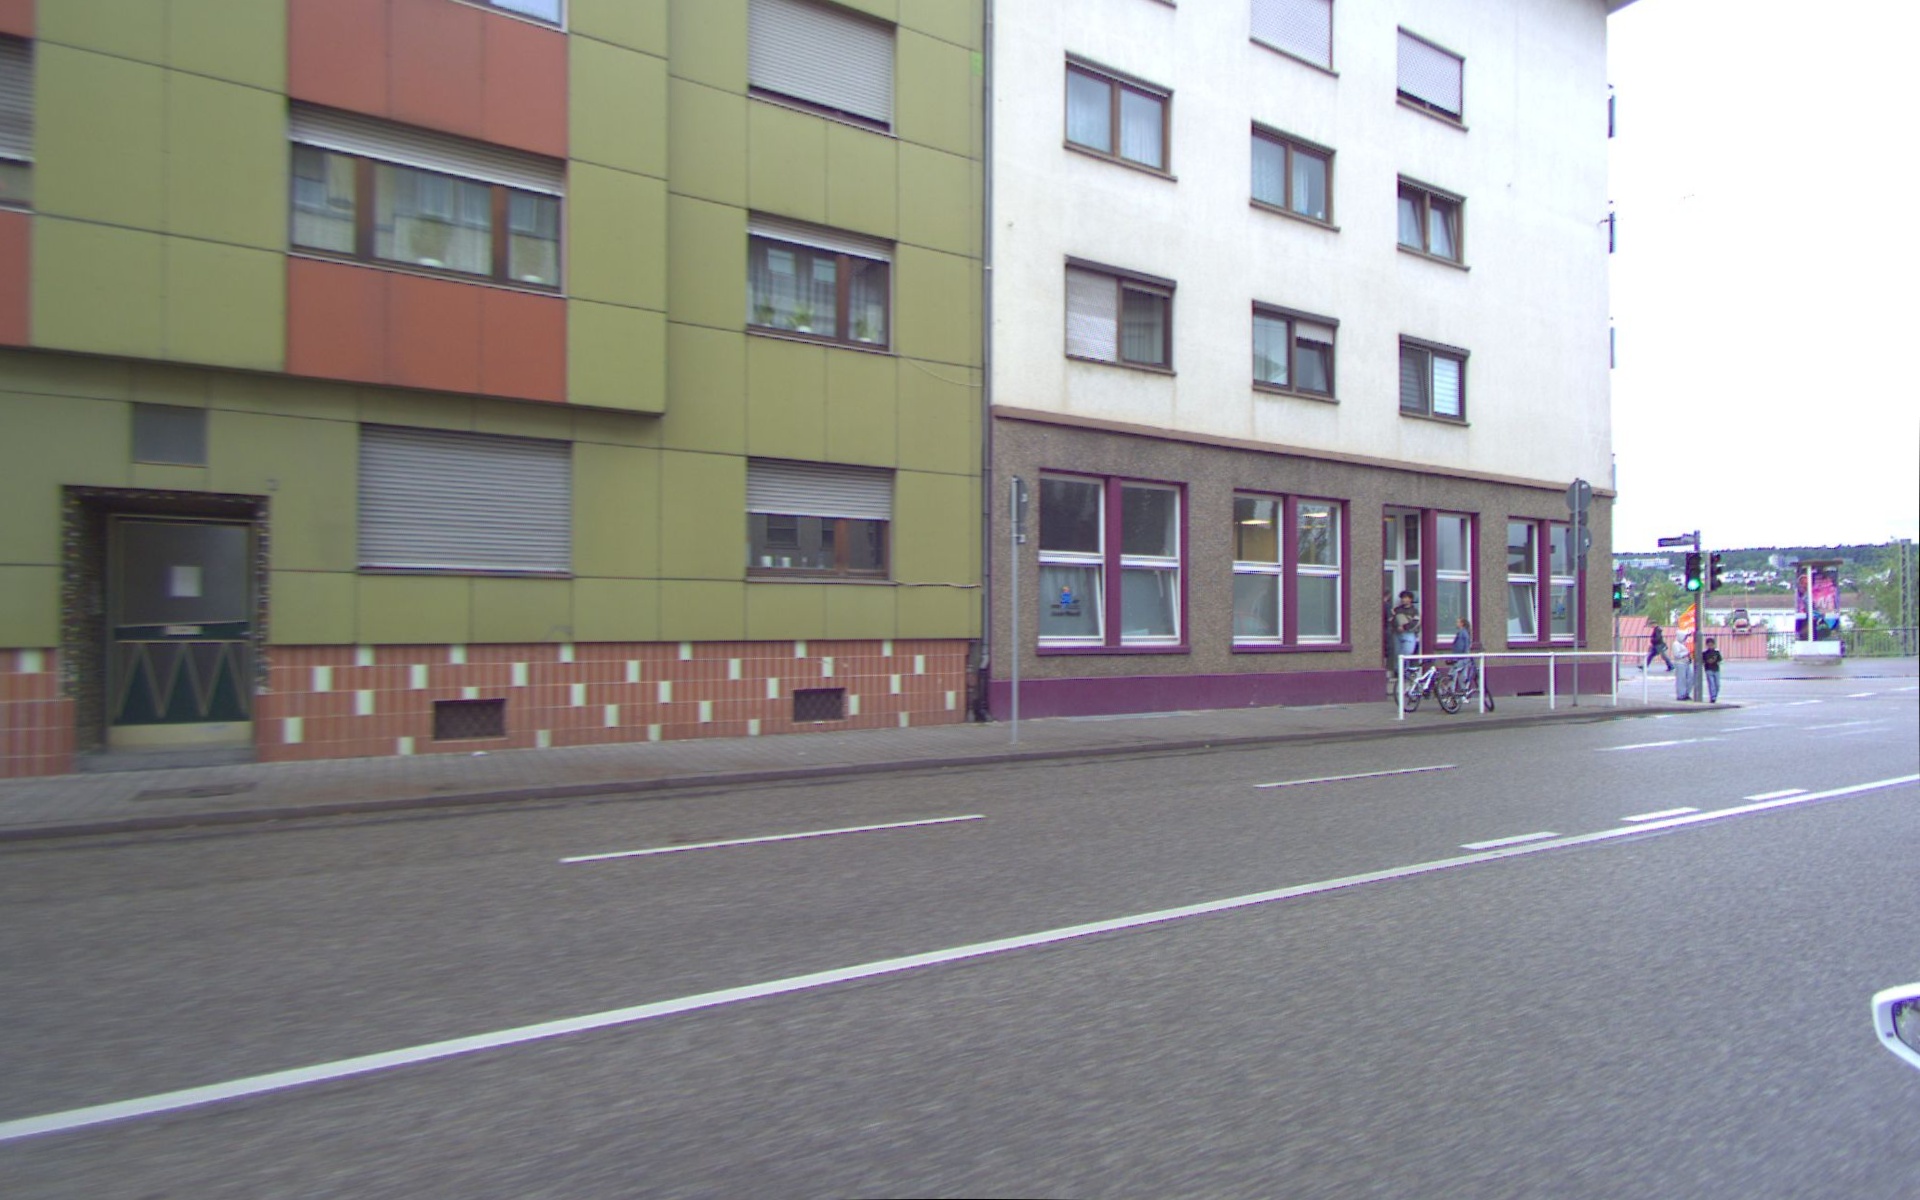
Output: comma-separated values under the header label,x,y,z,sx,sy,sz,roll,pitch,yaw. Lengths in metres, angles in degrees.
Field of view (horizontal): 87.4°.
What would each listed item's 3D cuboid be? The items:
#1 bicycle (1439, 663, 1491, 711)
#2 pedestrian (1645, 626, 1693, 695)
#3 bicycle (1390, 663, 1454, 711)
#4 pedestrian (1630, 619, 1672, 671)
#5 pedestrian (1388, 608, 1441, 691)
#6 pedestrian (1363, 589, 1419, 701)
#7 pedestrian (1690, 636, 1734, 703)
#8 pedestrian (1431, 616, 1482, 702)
label,x,y,z,sx,sy,sz,roll,pitch,yaw
bicycle,8.711,1.488,17.316,1.098,0.793,0.263,2,-2,-31
pedestrian,15.539,1.313,22.011,0.653,1.477,0.639,1,-2,-32
bicycle,7.971,1.493,17.315,1.405,0.793,0.263,2,-2,-31
pedestrian,24.133,1.576,35.100,1.052,1.780,1.062,0,-2,25
pedestrian,8.962,0.972,19.813,0.582,1.598,0.770,1,-2,-30
pedestrian,8.337,0.866,19.433,0.722,2.127,0.707,2,-2,-33
pedestrian,16.199,1.489,21.637,0.642,1.406,0.542,1,-2,-30
pedestrian,9.362,1.104,18.937,0.732,1.574,0.571,2,-2,-33
